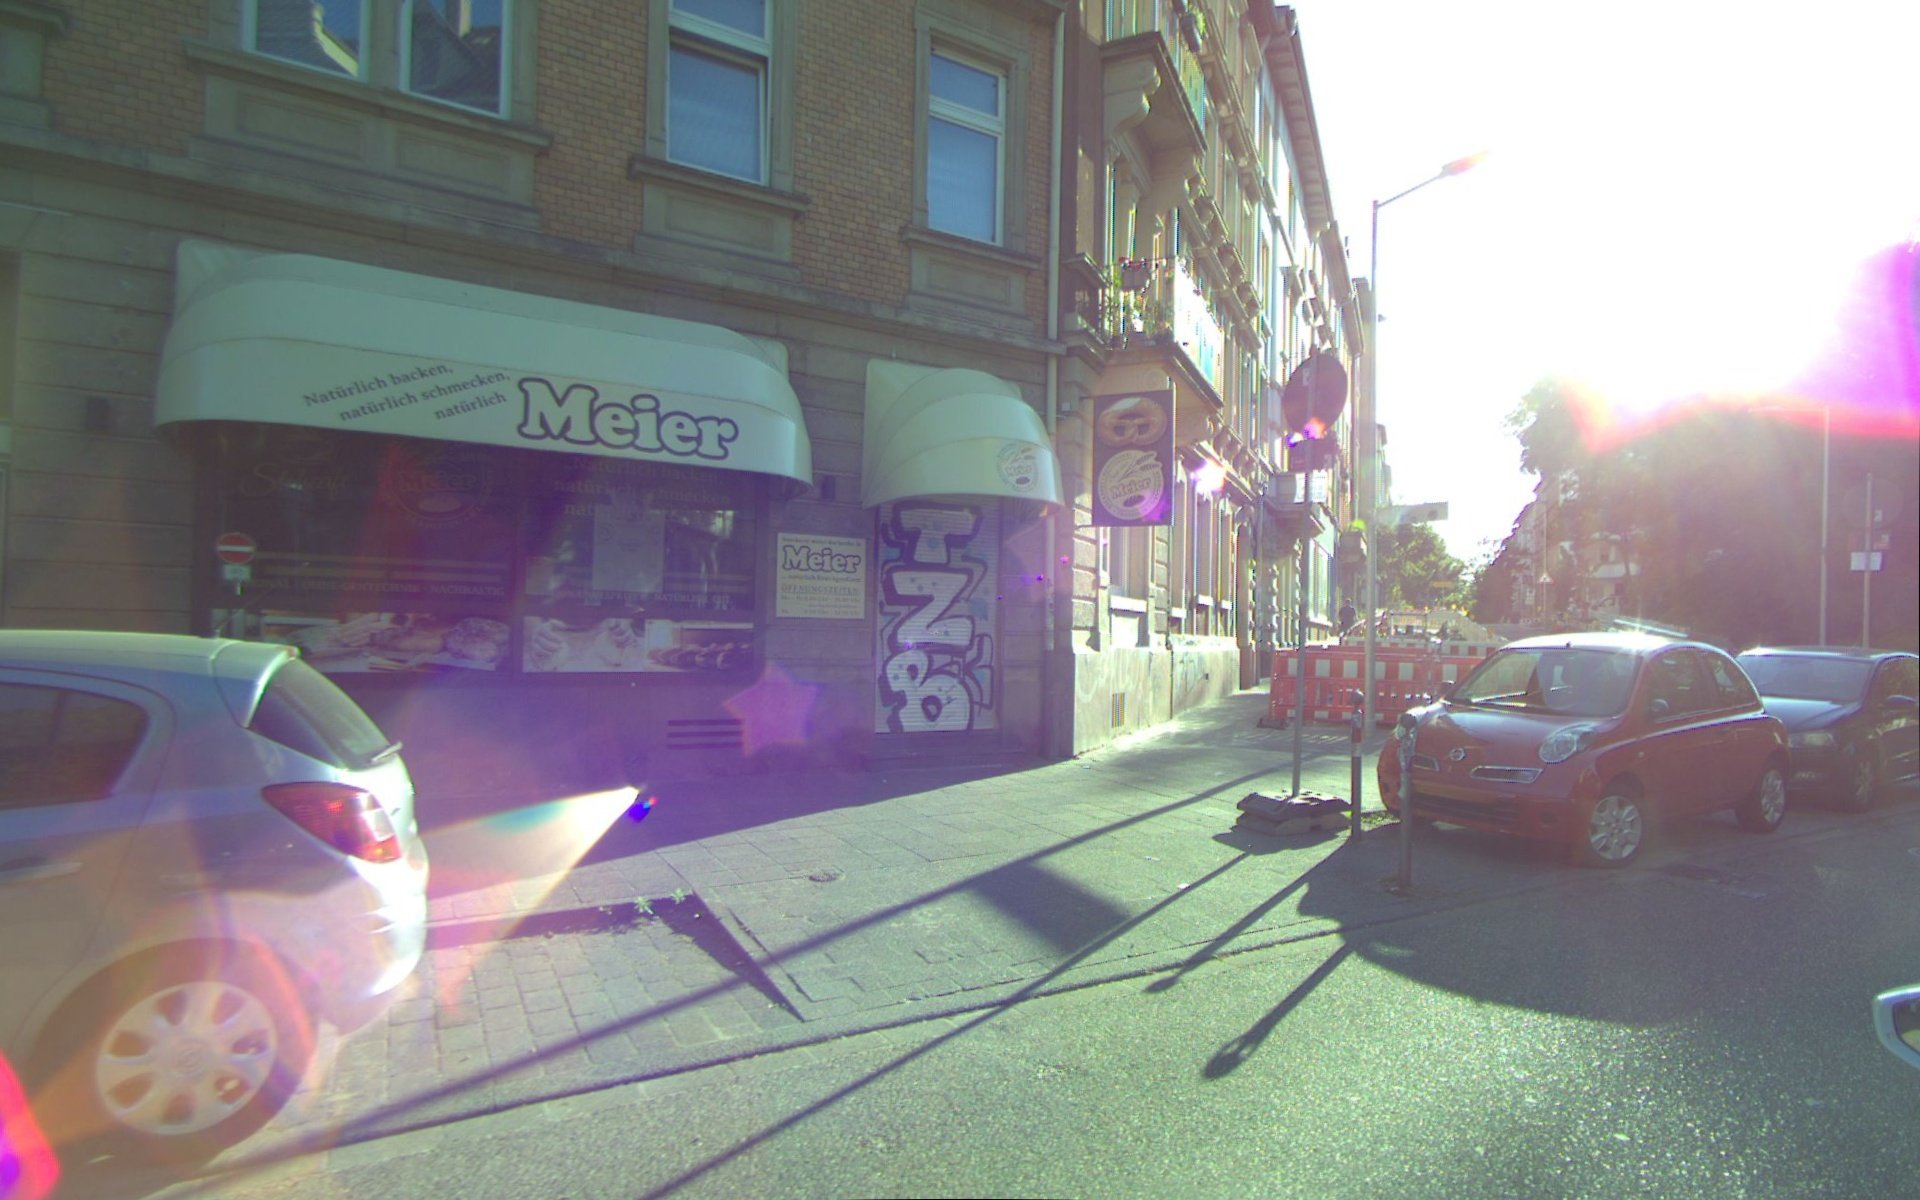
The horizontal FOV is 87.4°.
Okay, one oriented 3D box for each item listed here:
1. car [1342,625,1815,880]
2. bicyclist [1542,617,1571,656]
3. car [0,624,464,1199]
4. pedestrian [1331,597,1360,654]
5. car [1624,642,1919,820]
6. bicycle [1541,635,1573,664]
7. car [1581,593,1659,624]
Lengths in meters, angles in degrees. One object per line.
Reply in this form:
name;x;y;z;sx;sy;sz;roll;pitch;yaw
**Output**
car;4.998;1.016;7.972;3.956;1.550;1.660;2;-2;-33
bicyclist;21.823;1.334;36.750;0.790;1.402;0.984;1;-1;25
car;-3.688;0.824;2.907;3.948;1.456;1.717;1;0;-30
pedestrian;14.029;0.932;36.543;0.925;2.040;0.958;0;-1;26
car;8.731;1.207;10.304;3.954;1.477;1.661;2;-2;-31
bicycle;21.815;1.789;36.734;0.790;0.981;2.107;1;-1;25
car;45.490;0.585;69.282;4.315;2.040;1.926;1;-1;39
